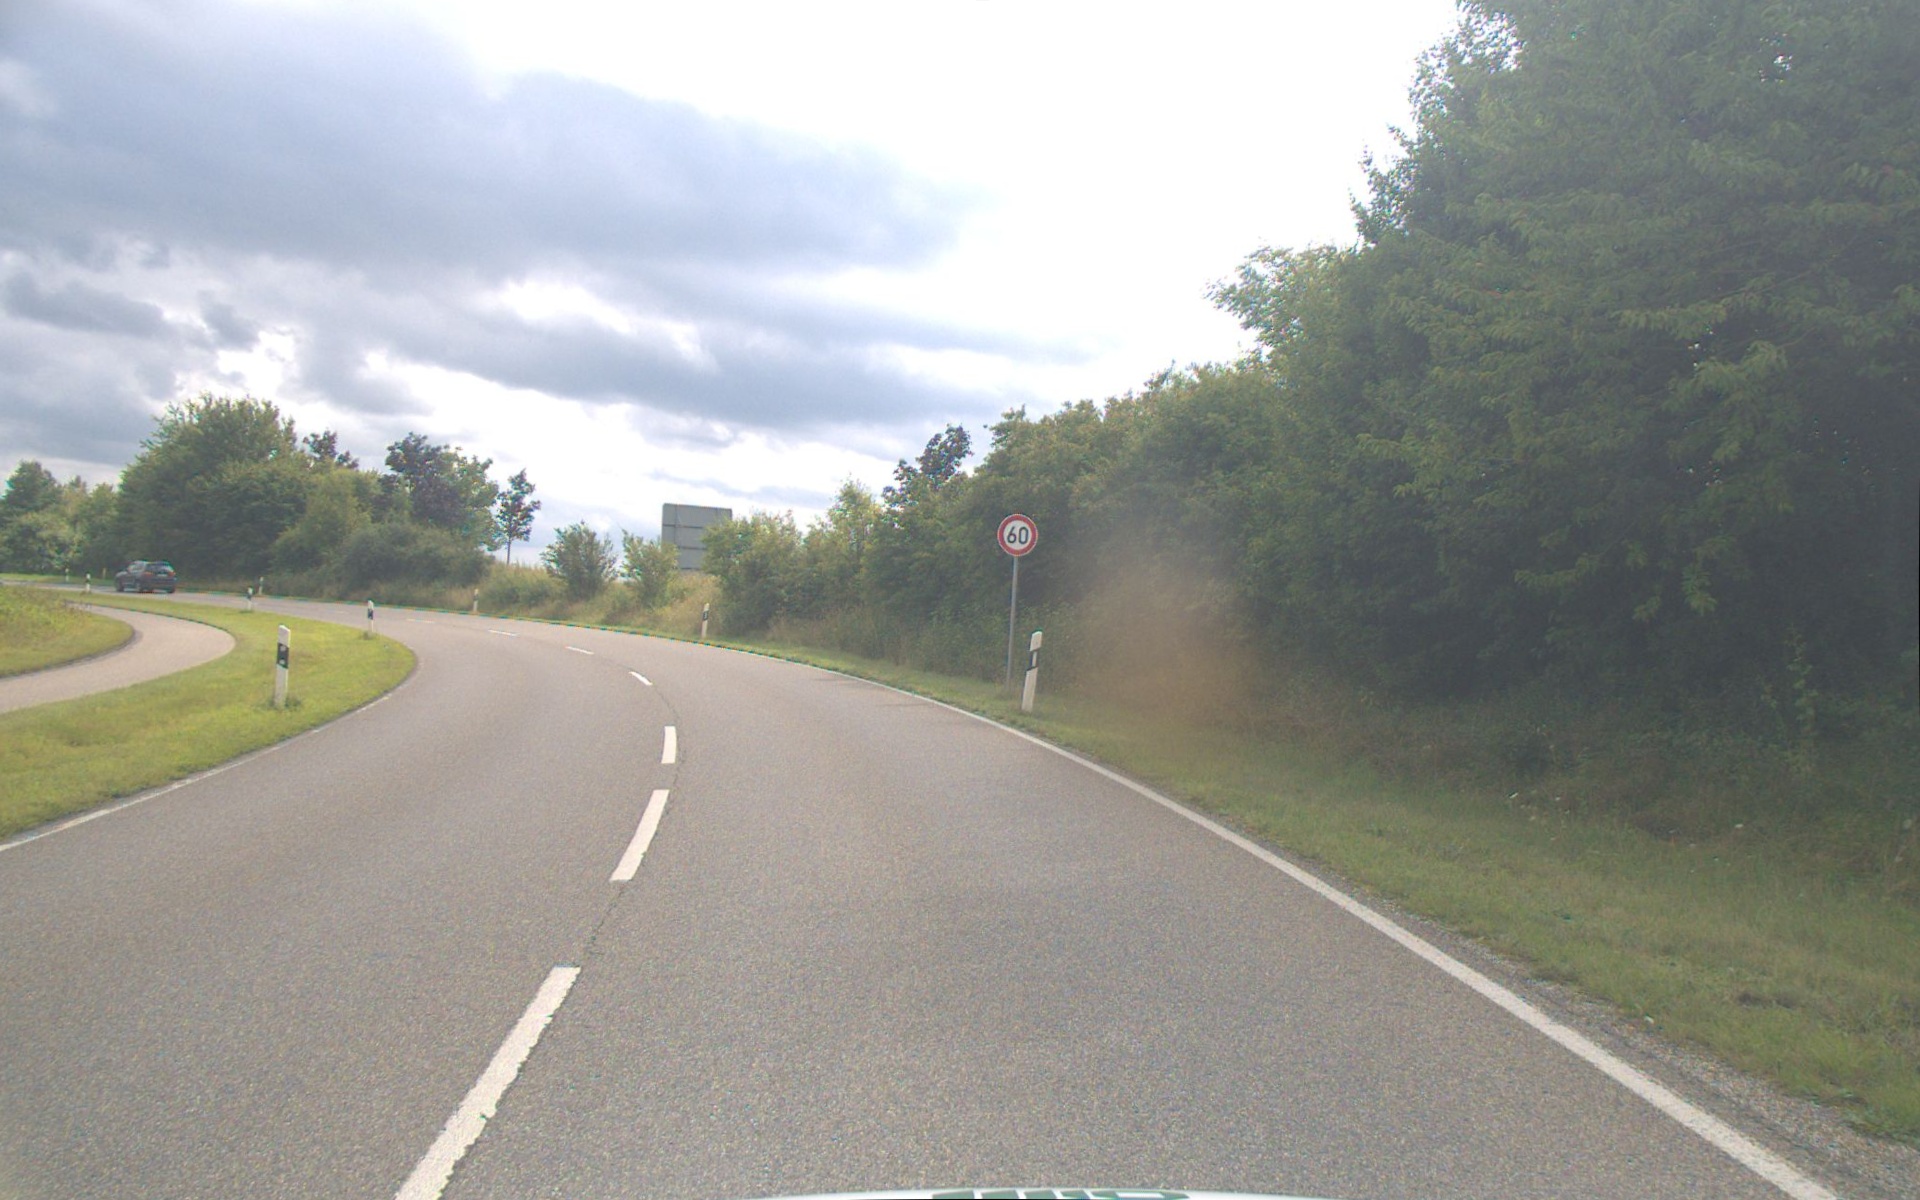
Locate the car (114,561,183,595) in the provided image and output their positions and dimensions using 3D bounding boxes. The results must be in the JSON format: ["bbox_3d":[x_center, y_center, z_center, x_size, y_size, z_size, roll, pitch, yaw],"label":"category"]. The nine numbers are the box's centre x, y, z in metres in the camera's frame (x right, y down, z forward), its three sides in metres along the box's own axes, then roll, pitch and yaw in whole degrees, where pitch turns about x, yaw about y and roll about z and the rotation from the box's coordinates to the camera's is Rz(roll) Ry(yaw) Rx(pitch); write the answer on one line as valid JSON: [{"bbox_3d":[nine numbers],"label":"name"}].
[{"bbox_3d":[-43.622,-1.194,88.879,3.925,1.695,1.903,2,0,39],"label":"car"}]
